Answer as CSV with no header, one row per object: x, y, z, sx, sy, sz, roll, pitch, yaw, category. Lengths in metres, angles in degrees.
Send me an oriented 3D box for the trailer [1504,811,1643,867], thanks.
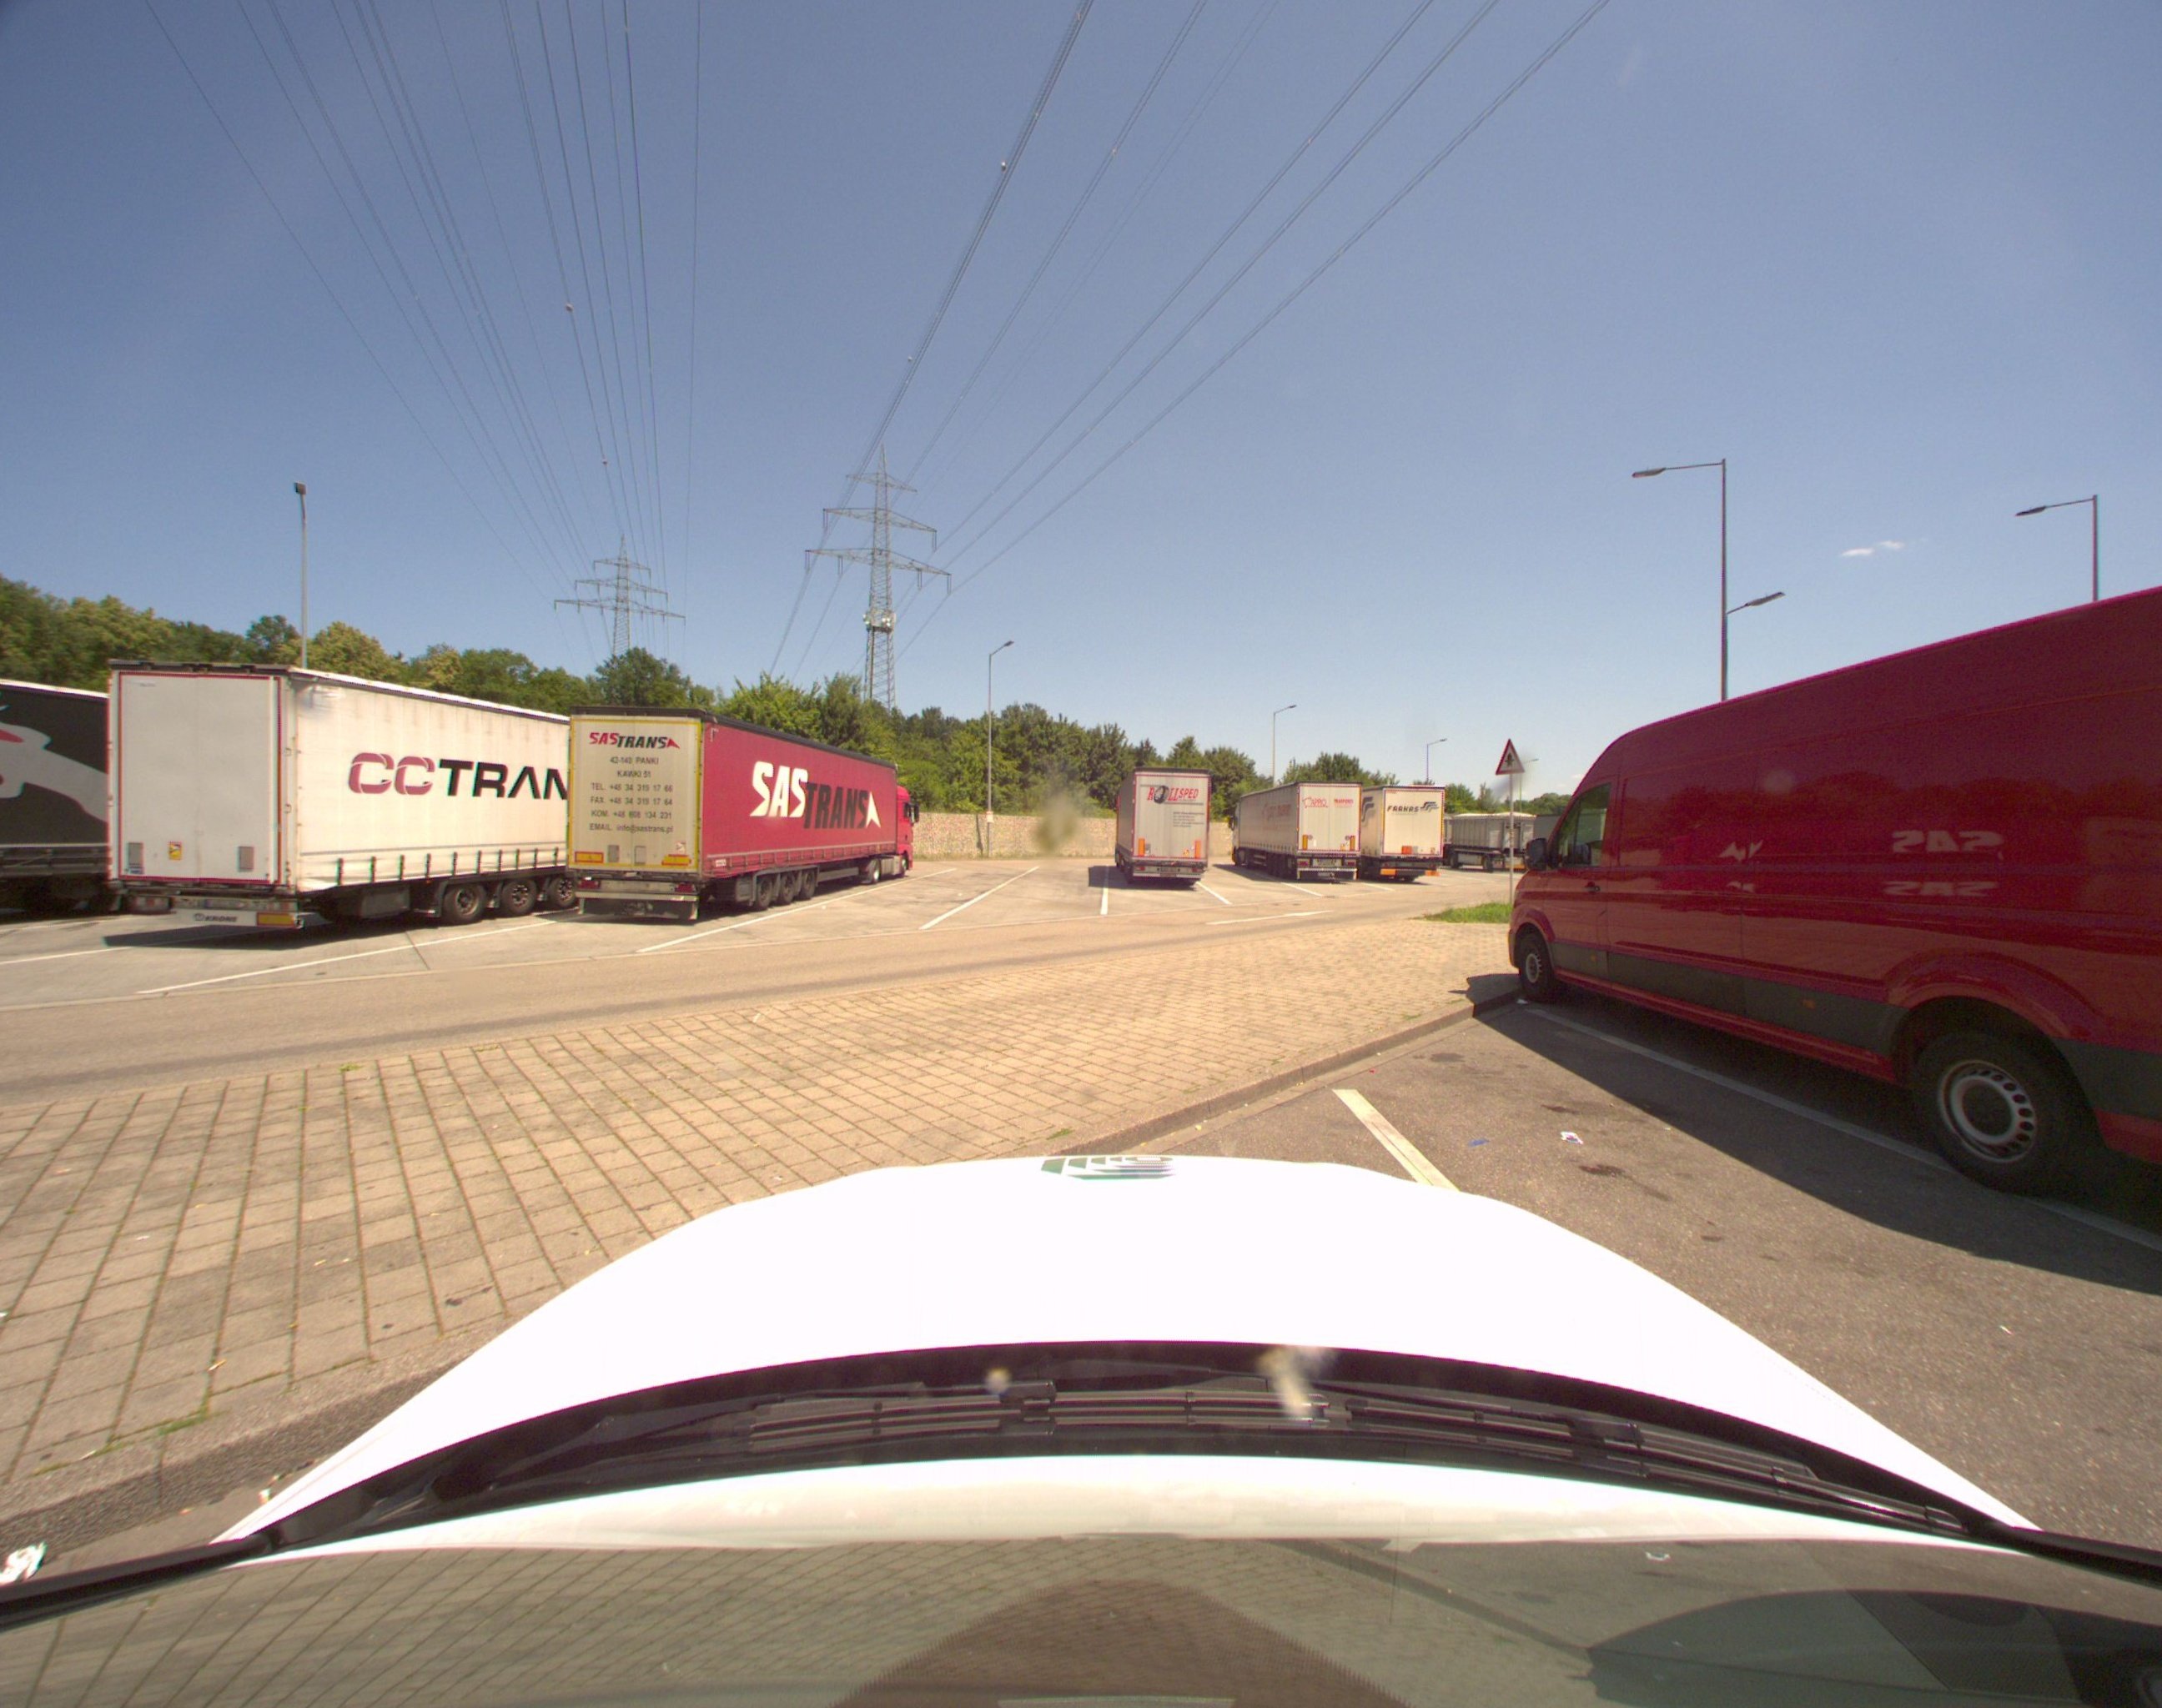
38.223,-1.298,64.167,2.847,3.904,13.770,1,2,2,trailer

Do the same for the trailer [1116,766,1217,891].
3.052,-1.046,33.194,2.848,3.971,13.767,1,2,1,trailer

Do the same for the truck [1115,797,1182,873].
3.143,-0.936,39.396,2.855,3.362,5.977,1,2,2,truck

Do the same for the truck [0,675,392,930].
-18.544,-0.932,15.813,2.696,4.070,8.694,1,2,2,truck

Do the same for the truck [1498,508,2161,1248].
5.148,0.080,5.437,2.001,2.651,6.466,-1,0,6,truck

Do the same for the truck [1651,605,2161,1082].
8.008,-0.071,6.870,2.406,2.906,6.466,-1,0,6,truck

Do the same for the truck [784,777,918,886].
-7.828,-0.790,28.527,2.801,3.362,5.977,1,2,2,truck

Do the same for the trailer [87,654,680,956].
-12.156,-0.836,16.406,2.696,4.101,10.395,1,2,2,trailer

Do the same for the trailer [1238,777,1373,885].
9.984,-1.118,38.285,2.847,4.109,13.770,1,2,2,trailer

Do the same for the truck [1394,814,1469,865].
24.629,-1.082,57.582,2.855,3.362,5.977,1,2,2,truck

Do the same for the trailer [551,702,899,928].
-8.042,-0.923,21.710,2.811,4.070,13.770,1,2,2,trailer

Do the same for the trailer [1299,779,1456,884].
13.612,-1.093,39.209,2.847,4.109,13.770,1,2,2,trailer

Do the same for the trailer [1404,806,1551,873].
24.444,-0.994,51.485,2.847,3.599,13.770,1,2,2,trailer

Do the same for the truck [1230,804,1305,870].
10.182,-0.975,45.049,2.855,3.362,5.977,1,2,2,truck
